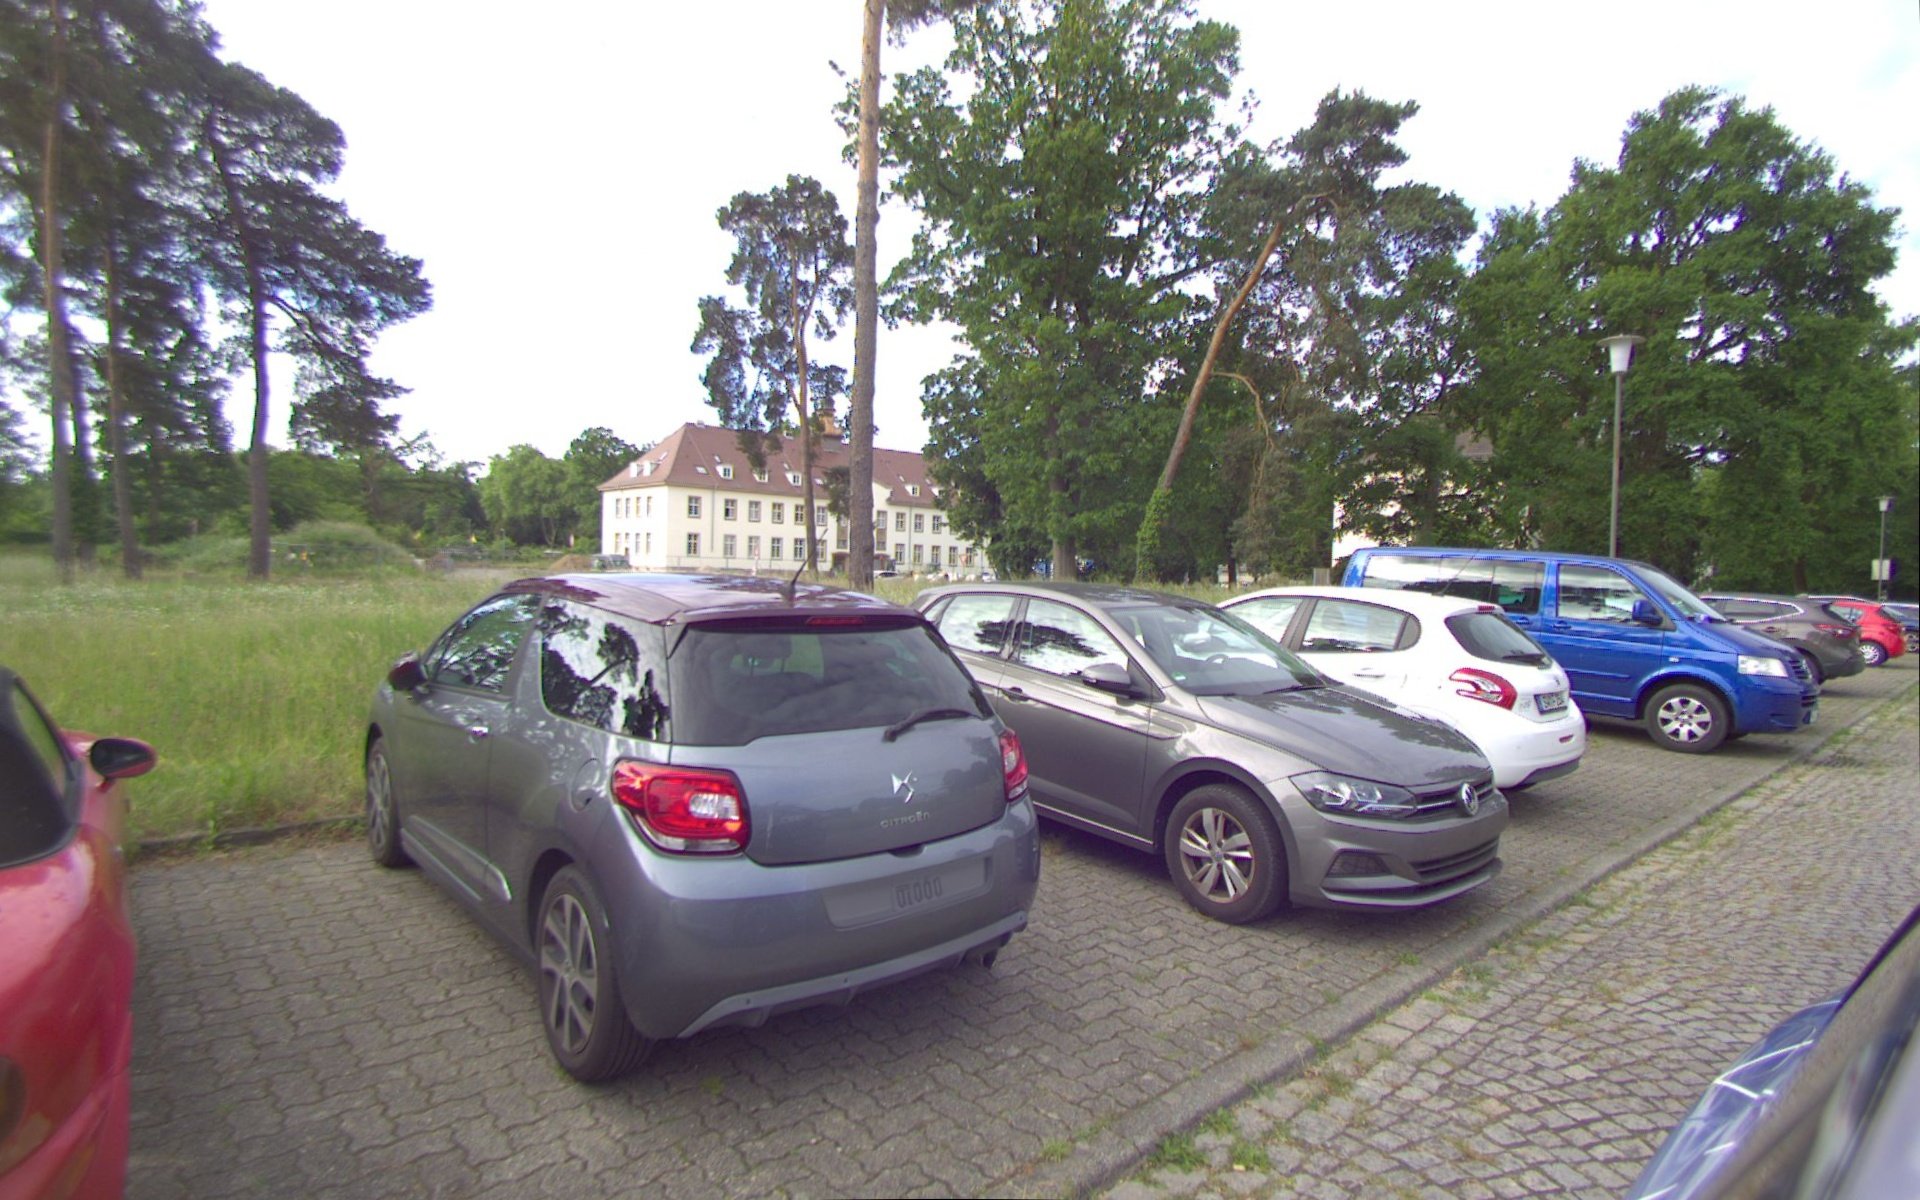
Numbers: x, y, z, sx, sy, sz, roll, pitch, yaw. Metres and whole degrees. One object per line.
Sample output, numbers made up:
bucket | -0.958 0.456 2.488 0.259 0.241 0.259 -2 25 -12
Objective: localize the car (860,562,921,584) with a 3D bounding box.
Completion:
car | -5.039 -1.947 73.621 4.184 1.433 1.885 0 2 -42

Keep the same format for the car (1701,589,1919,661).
car | 20.683 0.539 24.598 1.965 1.549 3.994 0 1 -41

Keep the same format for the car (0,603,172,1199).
car | -2.891 0.704 2.385 1.468 1.222 3.599 1 2 -40

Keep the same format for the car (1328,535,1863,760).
car | 6.946 0.315 11.539 1.966 1.962 4.746 0 3 -42

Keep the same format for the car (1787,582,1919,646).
car | 28.298 0.400 31.192 1.965 1.784 4.007 0 2 -40

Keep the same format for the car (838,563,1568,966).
car | 1.080 0.579 5.929 1.787 1.474 3.849 0 2 -39

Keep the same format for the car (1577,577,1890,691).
car | 13.317 0.484 17.598 1.965 1.630 3.995 0 2 -41

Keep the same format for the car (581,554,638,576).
car | -33.702 -3.379 97.312 6.169 1.882 2.305 3 3 40

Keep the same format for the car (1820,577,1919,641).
car | 31.661 0.306 33.912 1.965 2.038 3.996 0 2 -40

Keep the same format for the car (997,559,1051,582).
car | 6.152 -2.794 96.991 5.130 2.038 2.154 0 2 -39

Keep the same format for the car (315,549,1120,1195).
car | -1.370 0.585 4.420 1.769 1.524 3.781 0 2 -43

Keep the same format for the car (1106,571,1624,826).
car | 2.984 0.564 7.968 1.609 1.470 3.408 0 2 -40
